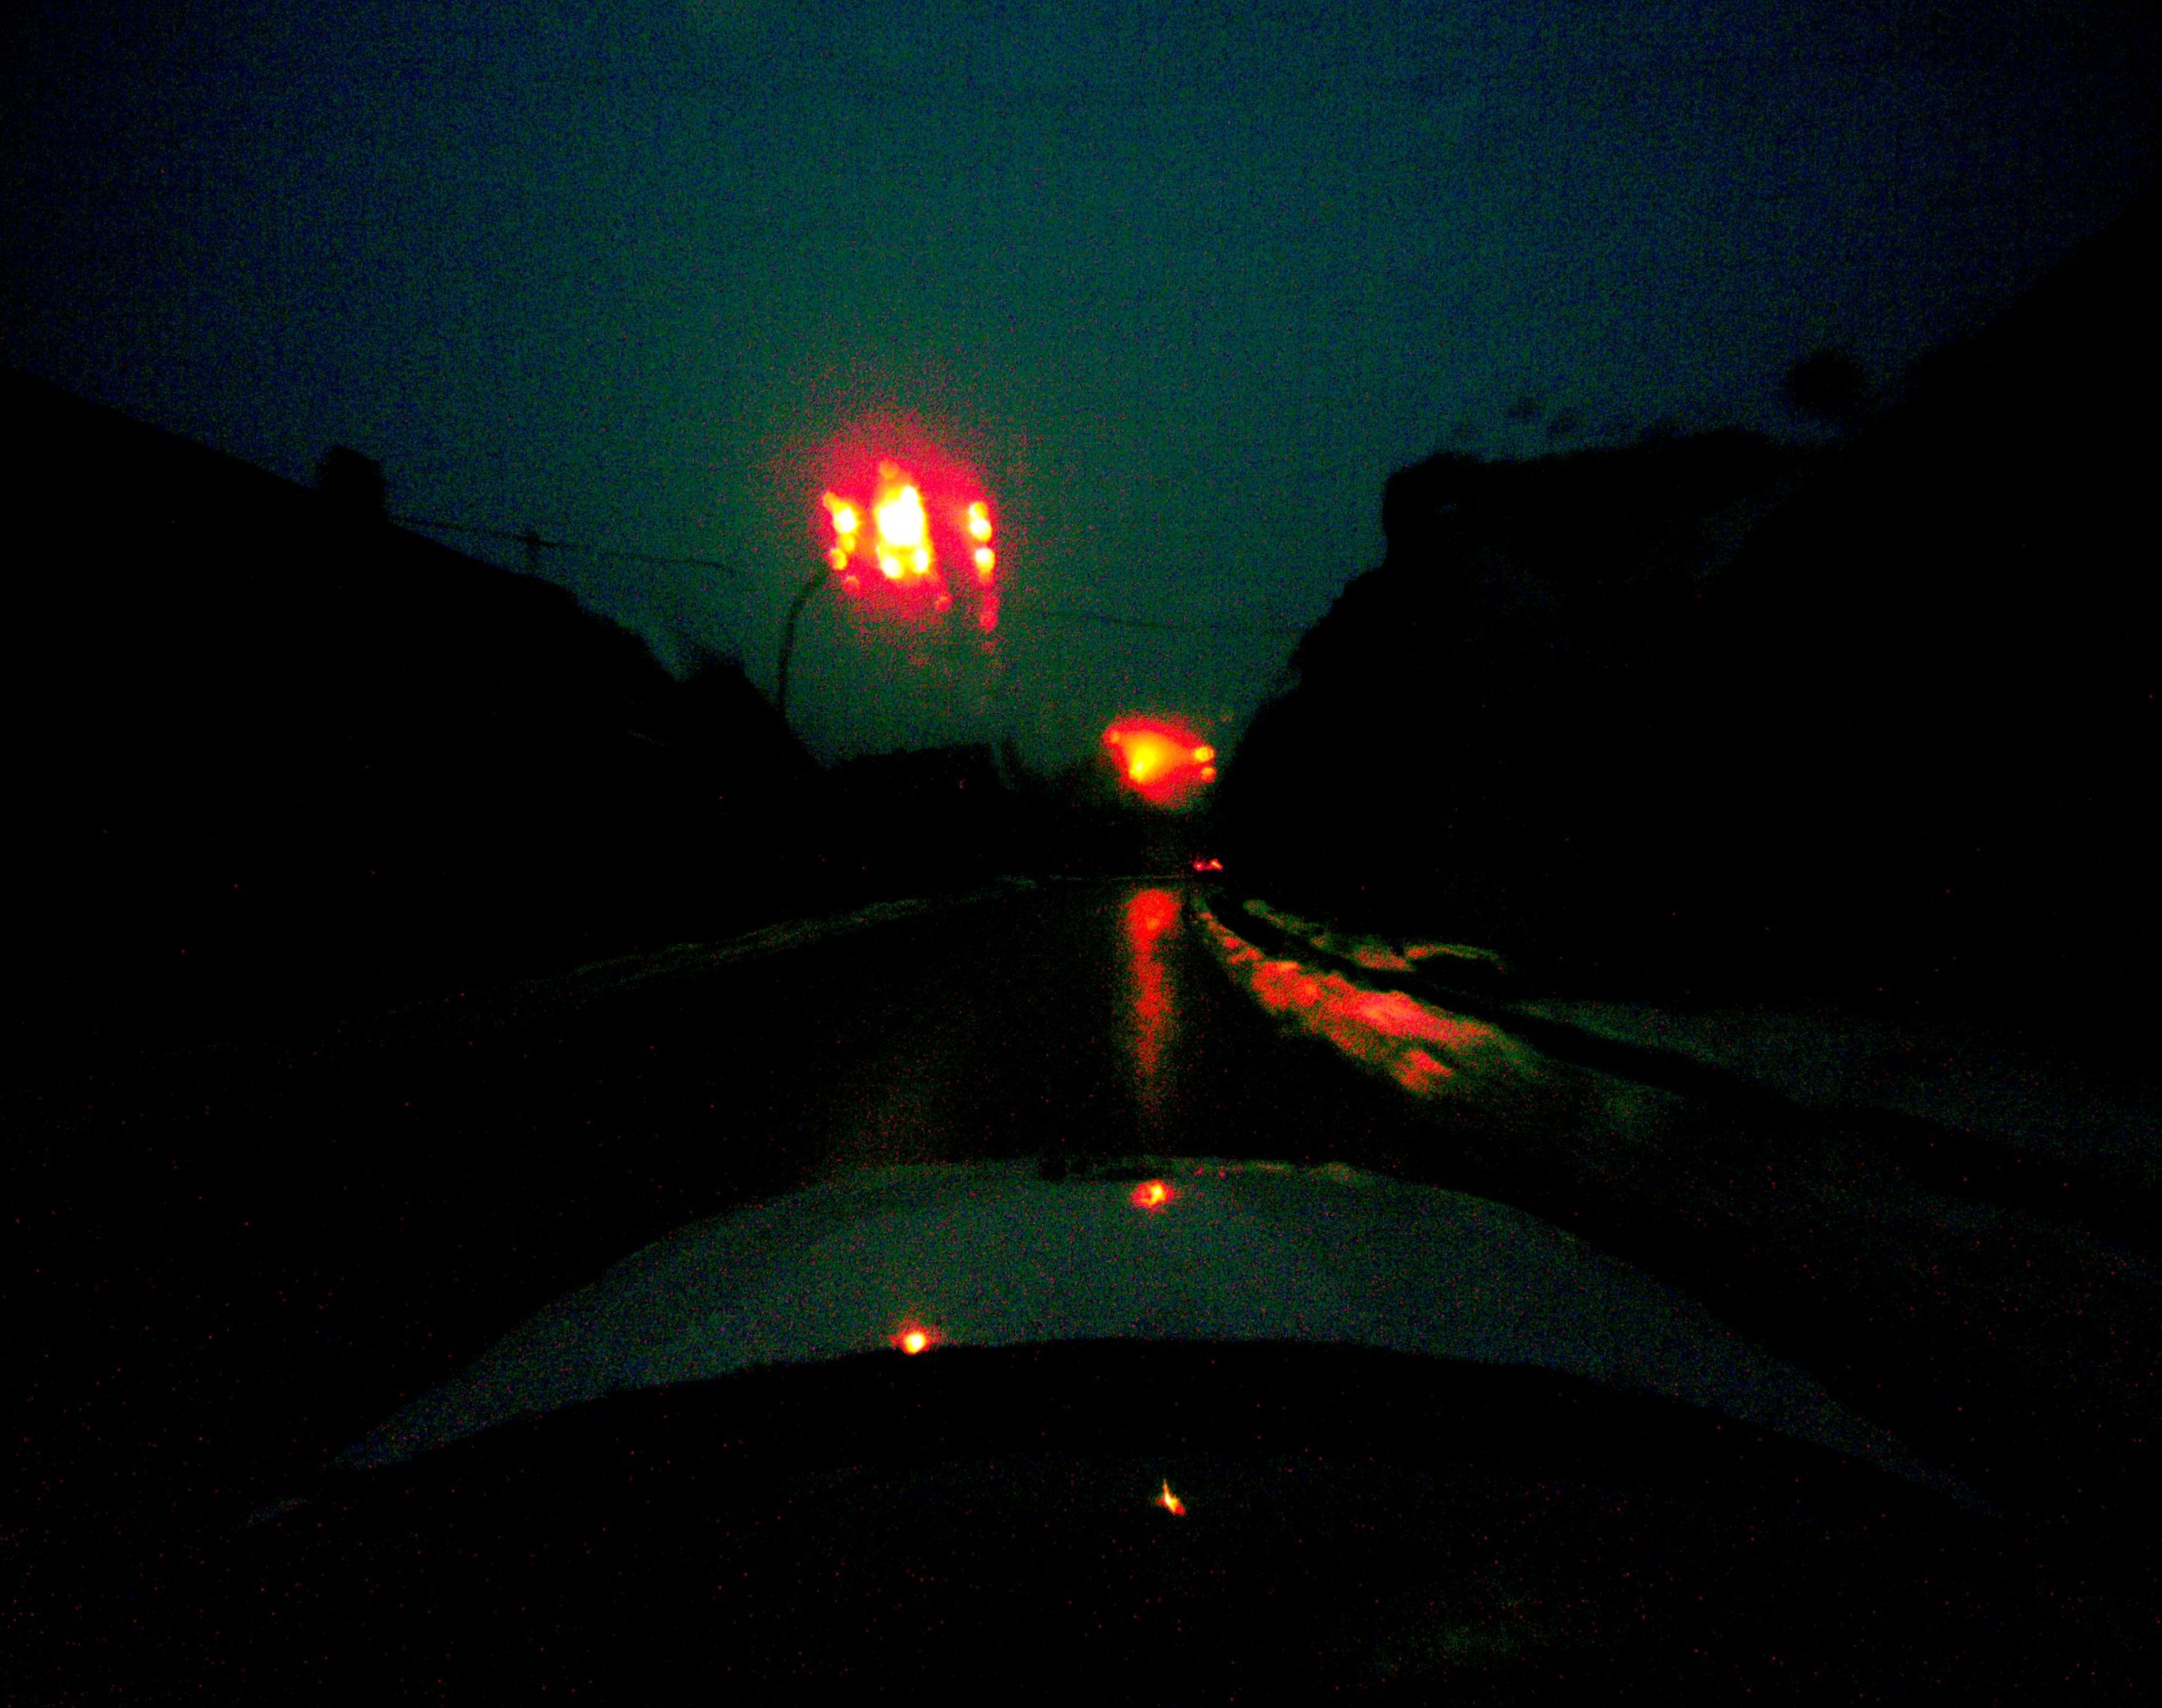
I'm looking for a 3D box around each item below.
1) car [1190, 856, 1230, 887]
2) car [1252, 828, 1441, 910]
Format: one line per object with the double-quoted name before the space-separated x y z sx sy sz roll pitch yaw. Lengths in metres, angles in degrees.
"car" 7.932 1.106 49.751 1.979 1.737 3.892 -3 -4 14
"car" 6.354 0.371 19.873 3.971 1.690 1.845 -3 -2 2
